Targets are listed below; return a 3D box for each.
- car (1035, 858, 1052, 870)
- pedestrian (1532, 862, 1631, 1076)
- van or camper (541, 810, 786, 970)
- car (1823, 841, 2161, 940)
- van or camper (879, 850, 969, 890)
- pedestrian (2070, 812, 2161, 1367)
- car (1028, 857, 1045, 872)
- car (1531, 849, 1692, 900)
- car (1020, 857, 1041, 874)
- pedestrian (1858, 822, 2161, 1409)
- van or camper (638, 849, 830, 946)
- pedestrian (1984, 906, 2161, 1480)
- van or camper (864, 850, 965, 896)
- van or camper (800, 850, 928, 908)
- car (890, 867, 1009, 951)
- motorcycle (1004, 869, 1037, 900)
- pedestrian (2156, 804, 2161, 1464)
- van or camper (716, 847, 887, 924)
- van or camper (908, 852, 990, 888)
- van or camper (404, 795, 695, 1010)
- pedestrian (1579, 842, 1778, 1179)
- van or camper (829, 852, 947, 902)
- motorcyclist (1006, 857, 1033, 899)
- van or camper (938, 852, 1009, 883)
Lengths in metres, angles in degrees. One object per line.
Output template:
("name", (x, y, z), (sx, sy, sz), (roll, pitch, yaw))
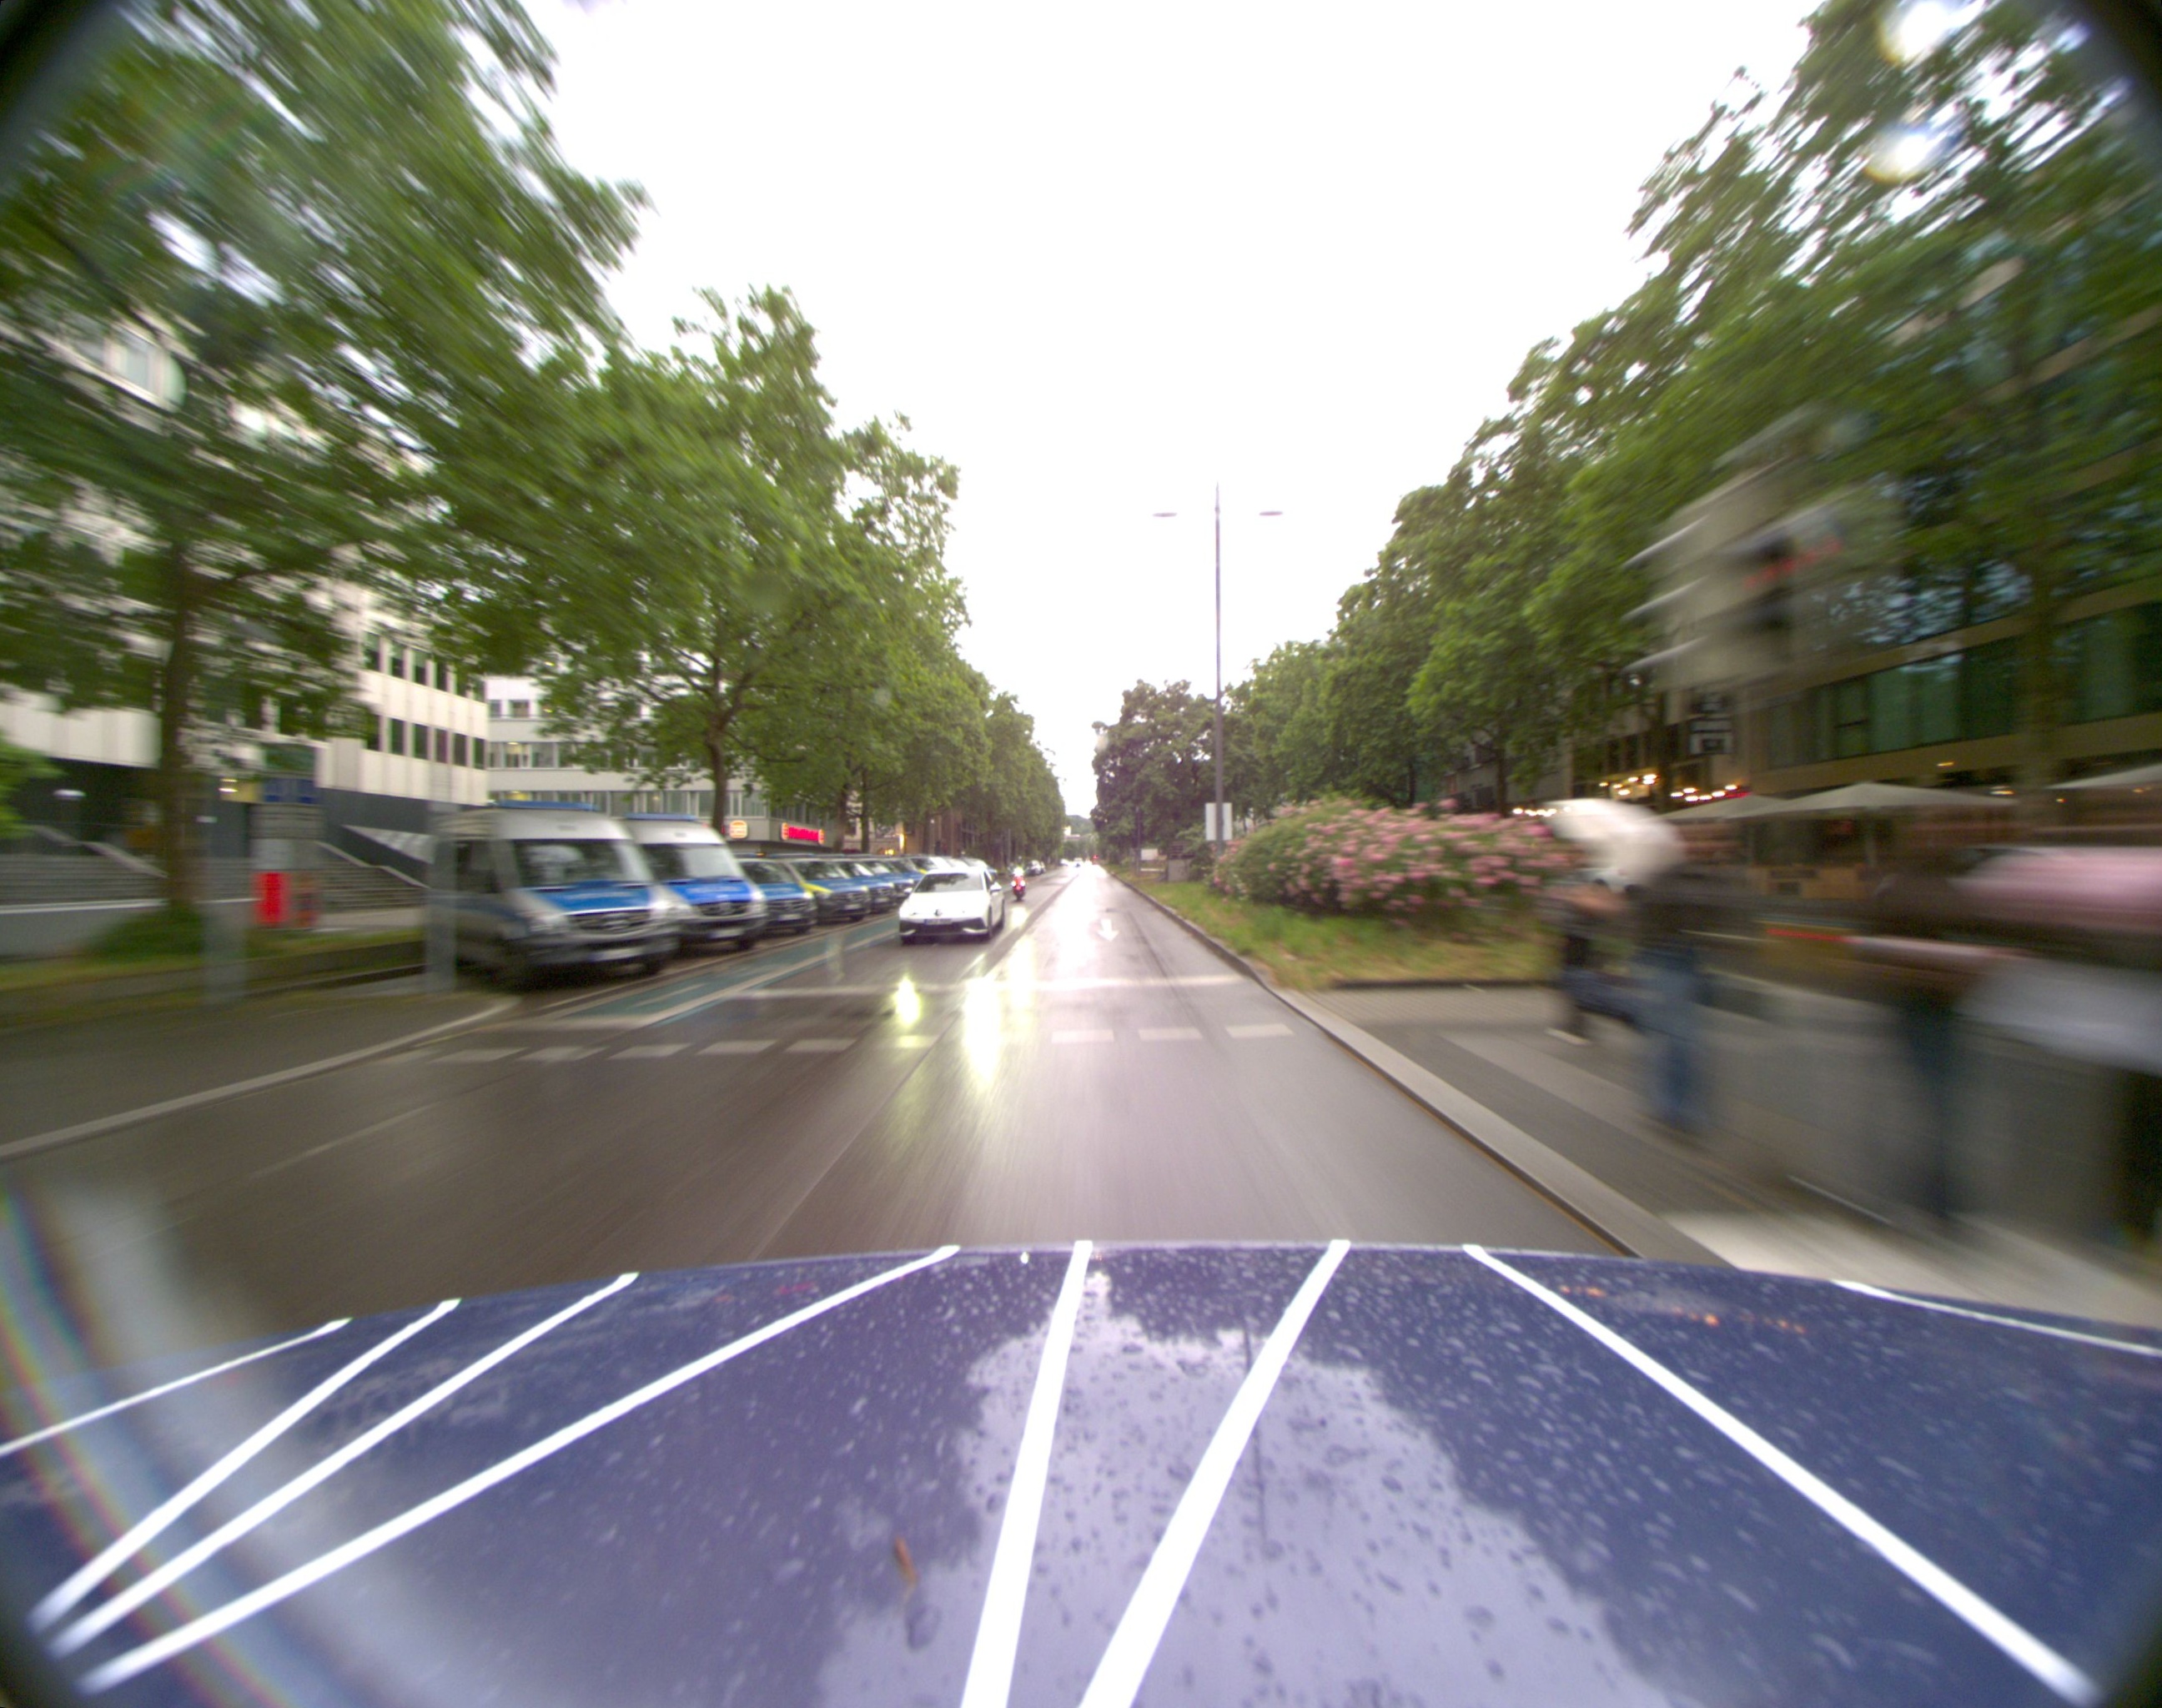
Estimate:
("car", (-4.655, 1.204, 95.475), (1.747, 1.424, 4.586), (-2, 0, 1))
("pedestrian", (3.683, 0.808, 5.620), (0.482, 1.480, 0.545), (-1, 1, 19))
("van or camper", (-8.496, 0.626, 15.188), (5.795, 2.664, 2.004), (-1, 0, 37))
("car", (16.704, 0.556, 13.808), (1.999, 1.500, 4.517), (-1, 0, -1))
("van or camper", (-8.234, 0.835, 39.679), (4.841, 1.986, 1.871), (-1, 0, 38))
("pedestrian", (3.509, 0.723, 2.404), (0.400, 1.710, 0.325), (-1, 1, -13))
("car", (-4.884, 1.104, 83.744), (1.756, 1.576, 4.409), (-2, 0, -3))
("car", (16.747, 0.608, 24.338), (1.998, 1.362, 4.540), (-3, 0, 1))
("car", (-5.209, 1.159, 78.520), (1.797, 1.593, 4.423), (-2, 0, 0))
("pedestrian", (2.959, 0.727, 2.395), (0.630, 1.633, 0.444), (-1, 1, -13))
("van or camper", (-8.489, 0.947, 18.397), (5.002, 2.002, 2.004), (-1, 2, 37))
("pedestrian", (2.935, 0.886, 2.127), (0.424, 1.442, 0.385), (-1, 1, -17))
("van or camper", (-7.929, 0.875, 35.961), (4.781, 1.999, 2.004), (-1, 1, 37))
("van or camper", (-8.314, 0.903, 28.882), (5.093, 2.013, 2.110), (-1, 0, 39))
("car", (-2.676, 1.071, 16.530), (1.866, 1.436, 4.508), (-3, 0, -2))
("motorcycle", (-2.424, 1.197, 30.030), (0.869, 1.136, 2.019), (-2, 0, -17))
("pedestrian", (3.069, 0.712, 1.797), (0.575, 1.688, 0.404), (-1, 1, -11))
("van or camper", (-8.173, 0.885, 22.029), (5.195, 1.981, 2.004), (-2, 1, 36))
("van or camper", (-8.196, 0.993, 46.850), (5.074, 2.007, 2.001), (-2, 0, 38))
("van or camper", (-8.615, 0.641, 12.054), (5.800, 2.662, 2.152), (-1, 0, 39))
("pedestrian", (3.190, 0.764, 4.083), (0.613, 1.632, 0.604), (-1, 1, -21))
("van or camper", (-8.343, 0.966, 32.671), (5.010, 1.984, 2.004), (-1, 0, 34))
("motorcyclist", (-2.451, 0.945, 30.062), (0.850, 1.635, 0.870), (-2, 0, -17))
("van or camper", (-7.592, 0.963, 53.425), (4.933, 1.980, 2.006), (-2, 0, 39))
